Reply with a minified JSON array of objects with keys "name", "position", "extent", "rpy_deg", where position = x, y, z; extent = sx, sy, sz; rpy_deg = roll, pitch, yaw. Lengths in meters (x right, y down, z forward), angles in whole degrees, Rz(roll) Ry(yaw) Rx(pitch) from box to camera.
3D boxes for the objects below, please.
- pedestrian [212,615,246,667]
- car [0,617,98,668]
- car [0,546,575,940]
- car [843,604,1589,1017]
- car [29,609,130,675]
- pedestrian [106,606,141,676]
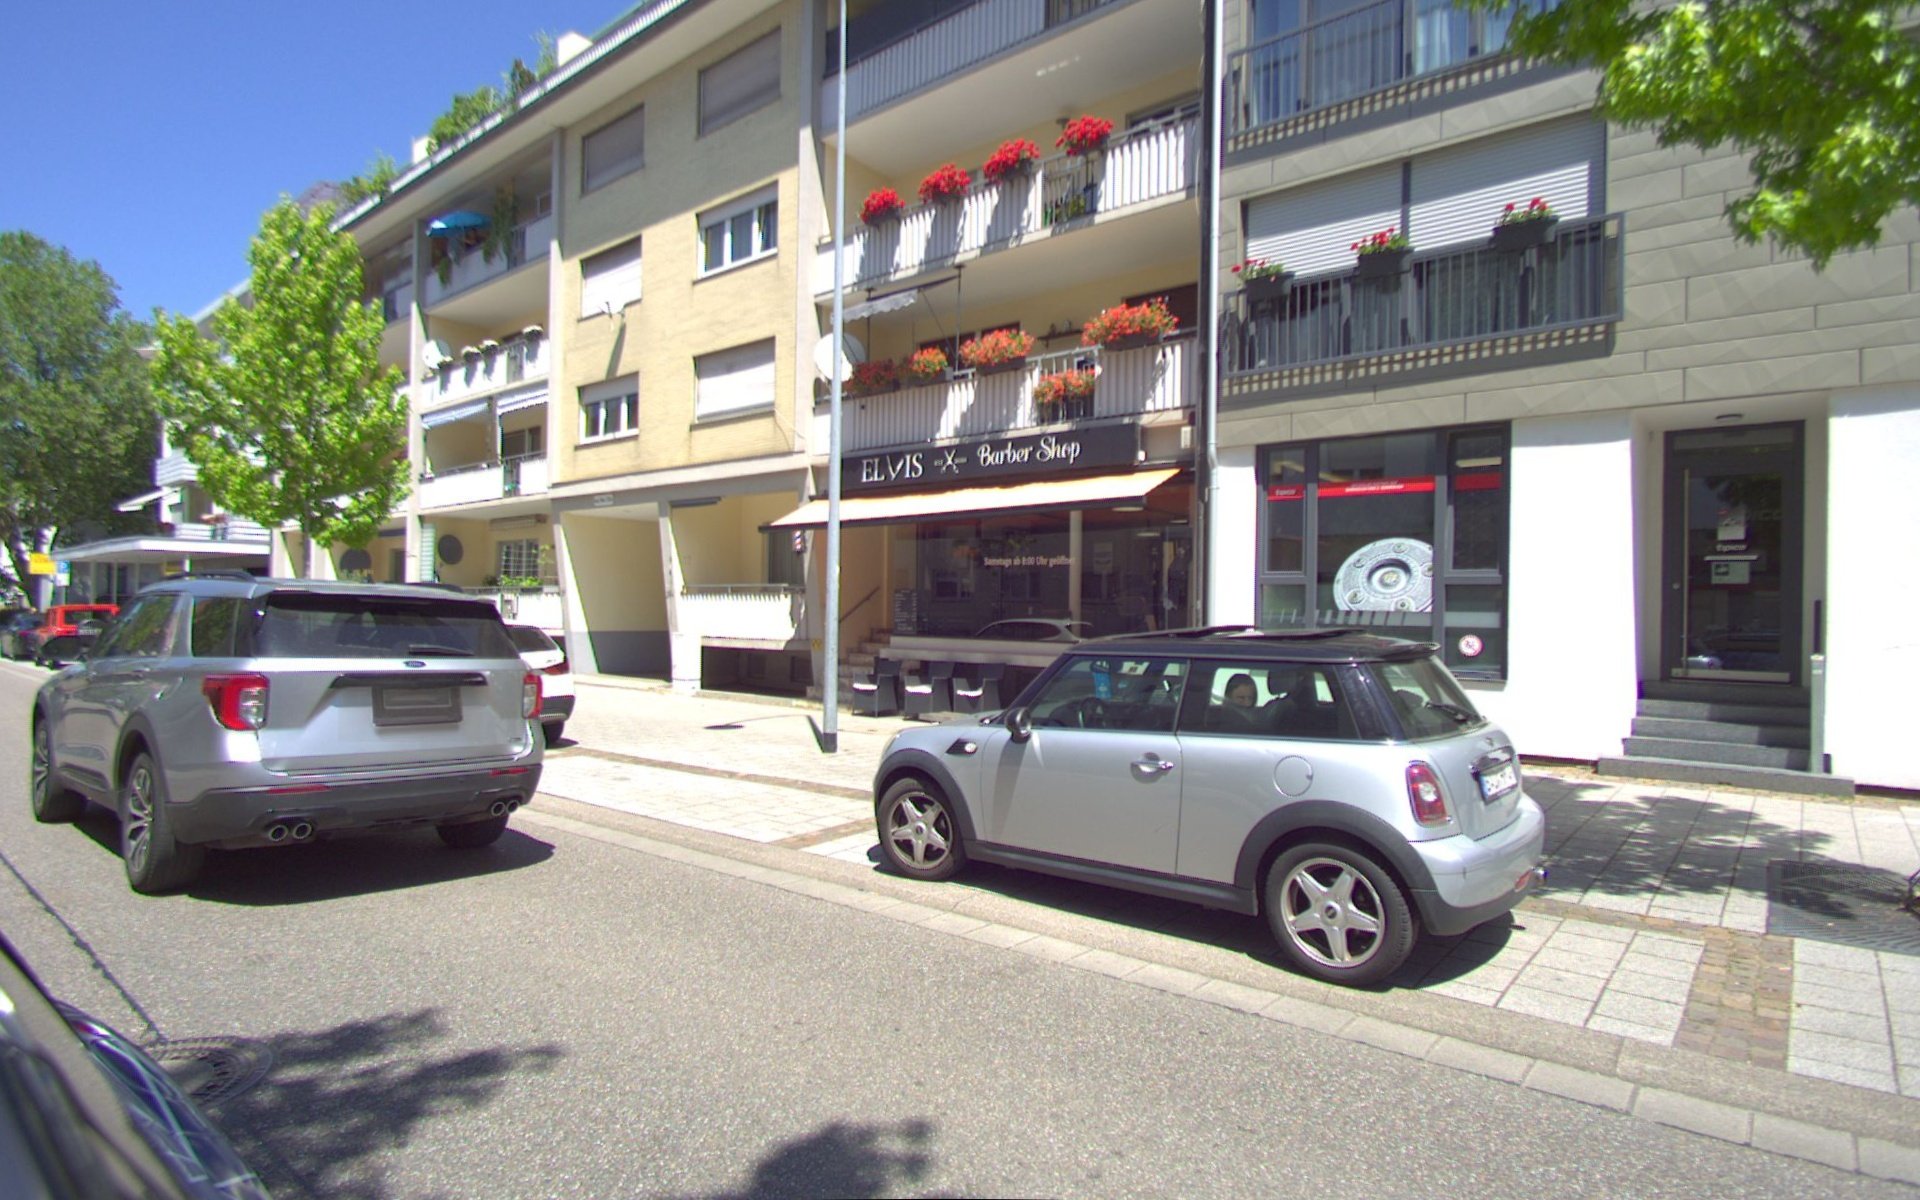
[{"name":"pedestrian","position":[-21.404,1.196,29.636],"extent":[0.767,1.510,0.698],"rpy_deg":[2,-2,-38]},{"name":"car","position":[-28.906,1.285,31.850],"extent":[3.994,1.475,1.975],"rpy_deg":[-1,-1,38]},{"name":"car","position":[-4.763,0.686,6.773],"extent":[4.749,1.767,1.883],"rpy_deg":[-1,-2,38]},{"name":"car","position":[1.170,0.792,5.432],"extent":[3.546,1.485,1.605],"rpy_deg":[-1,-2,41]},{"name":"car","position":[-24.205,1.116,27.805],"extent":[3.368,1.674,1.624],"rpy_deg":[-1,0,41]},{"name":"pedestrian","position":[-22.241,1.083,26.909],"extent":[0.657,1.818,0.687],"rpy_deg":[2,-2,-38]}]
